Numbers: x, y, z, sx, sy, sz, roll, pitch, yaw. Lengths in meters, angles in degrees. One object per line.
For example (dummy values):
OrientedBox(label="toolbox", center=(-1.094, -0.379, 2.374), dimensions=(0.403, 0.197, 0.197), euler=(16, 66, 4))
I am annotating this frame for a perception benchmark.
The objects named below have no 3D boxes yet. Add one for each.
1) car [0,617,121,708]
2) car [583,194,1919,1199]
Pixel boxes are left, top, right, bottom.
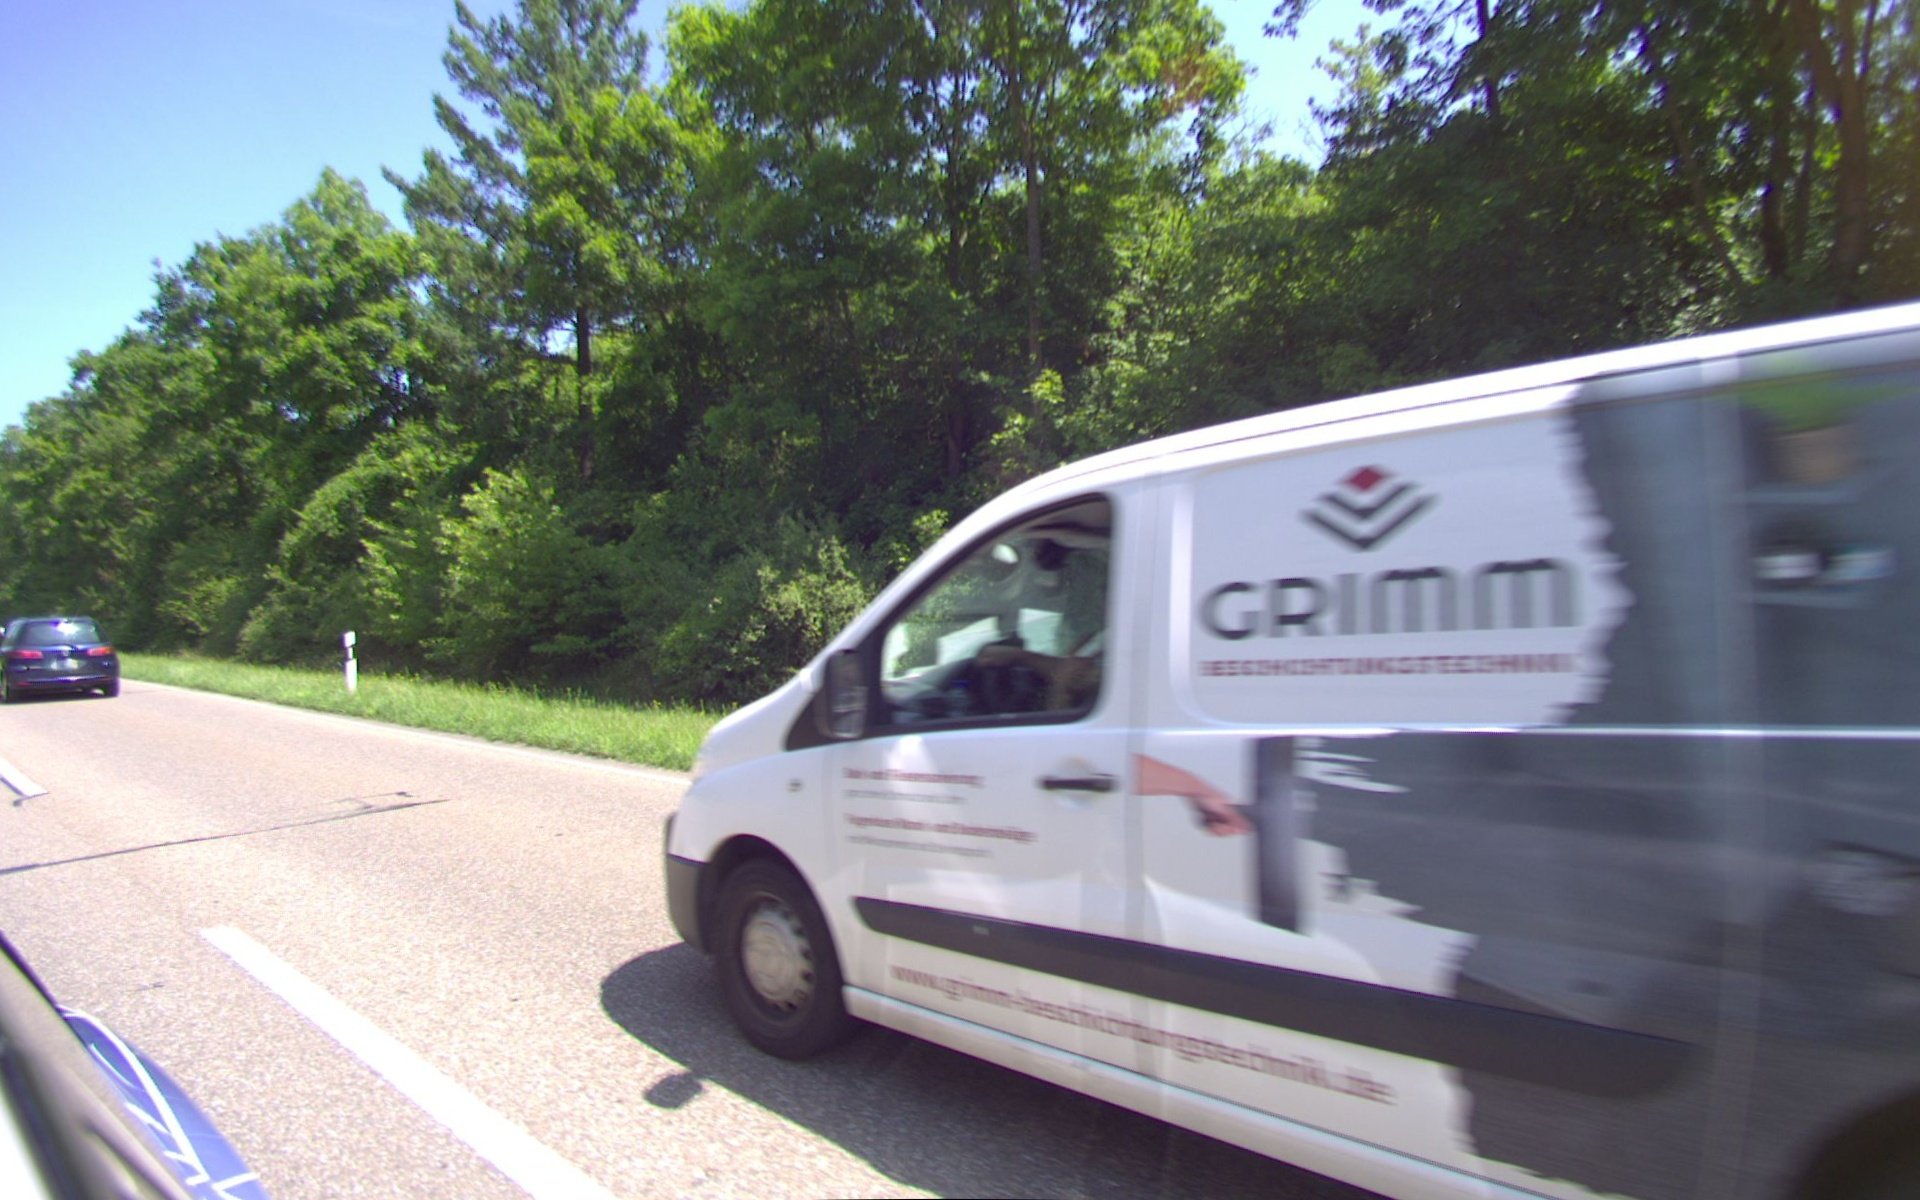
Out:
OrientedBox(label="car", center=(-17.510, 1.111, 19.297), dimensions=(3.997, 1.530, 1.655), euler=(-1, 0, 40))
OrientedBox(label="car", center=(1.068, 0.416, 2.891), dimensions=(4.985, 1.943, 1.856), euler=(-1, 0, 41))
